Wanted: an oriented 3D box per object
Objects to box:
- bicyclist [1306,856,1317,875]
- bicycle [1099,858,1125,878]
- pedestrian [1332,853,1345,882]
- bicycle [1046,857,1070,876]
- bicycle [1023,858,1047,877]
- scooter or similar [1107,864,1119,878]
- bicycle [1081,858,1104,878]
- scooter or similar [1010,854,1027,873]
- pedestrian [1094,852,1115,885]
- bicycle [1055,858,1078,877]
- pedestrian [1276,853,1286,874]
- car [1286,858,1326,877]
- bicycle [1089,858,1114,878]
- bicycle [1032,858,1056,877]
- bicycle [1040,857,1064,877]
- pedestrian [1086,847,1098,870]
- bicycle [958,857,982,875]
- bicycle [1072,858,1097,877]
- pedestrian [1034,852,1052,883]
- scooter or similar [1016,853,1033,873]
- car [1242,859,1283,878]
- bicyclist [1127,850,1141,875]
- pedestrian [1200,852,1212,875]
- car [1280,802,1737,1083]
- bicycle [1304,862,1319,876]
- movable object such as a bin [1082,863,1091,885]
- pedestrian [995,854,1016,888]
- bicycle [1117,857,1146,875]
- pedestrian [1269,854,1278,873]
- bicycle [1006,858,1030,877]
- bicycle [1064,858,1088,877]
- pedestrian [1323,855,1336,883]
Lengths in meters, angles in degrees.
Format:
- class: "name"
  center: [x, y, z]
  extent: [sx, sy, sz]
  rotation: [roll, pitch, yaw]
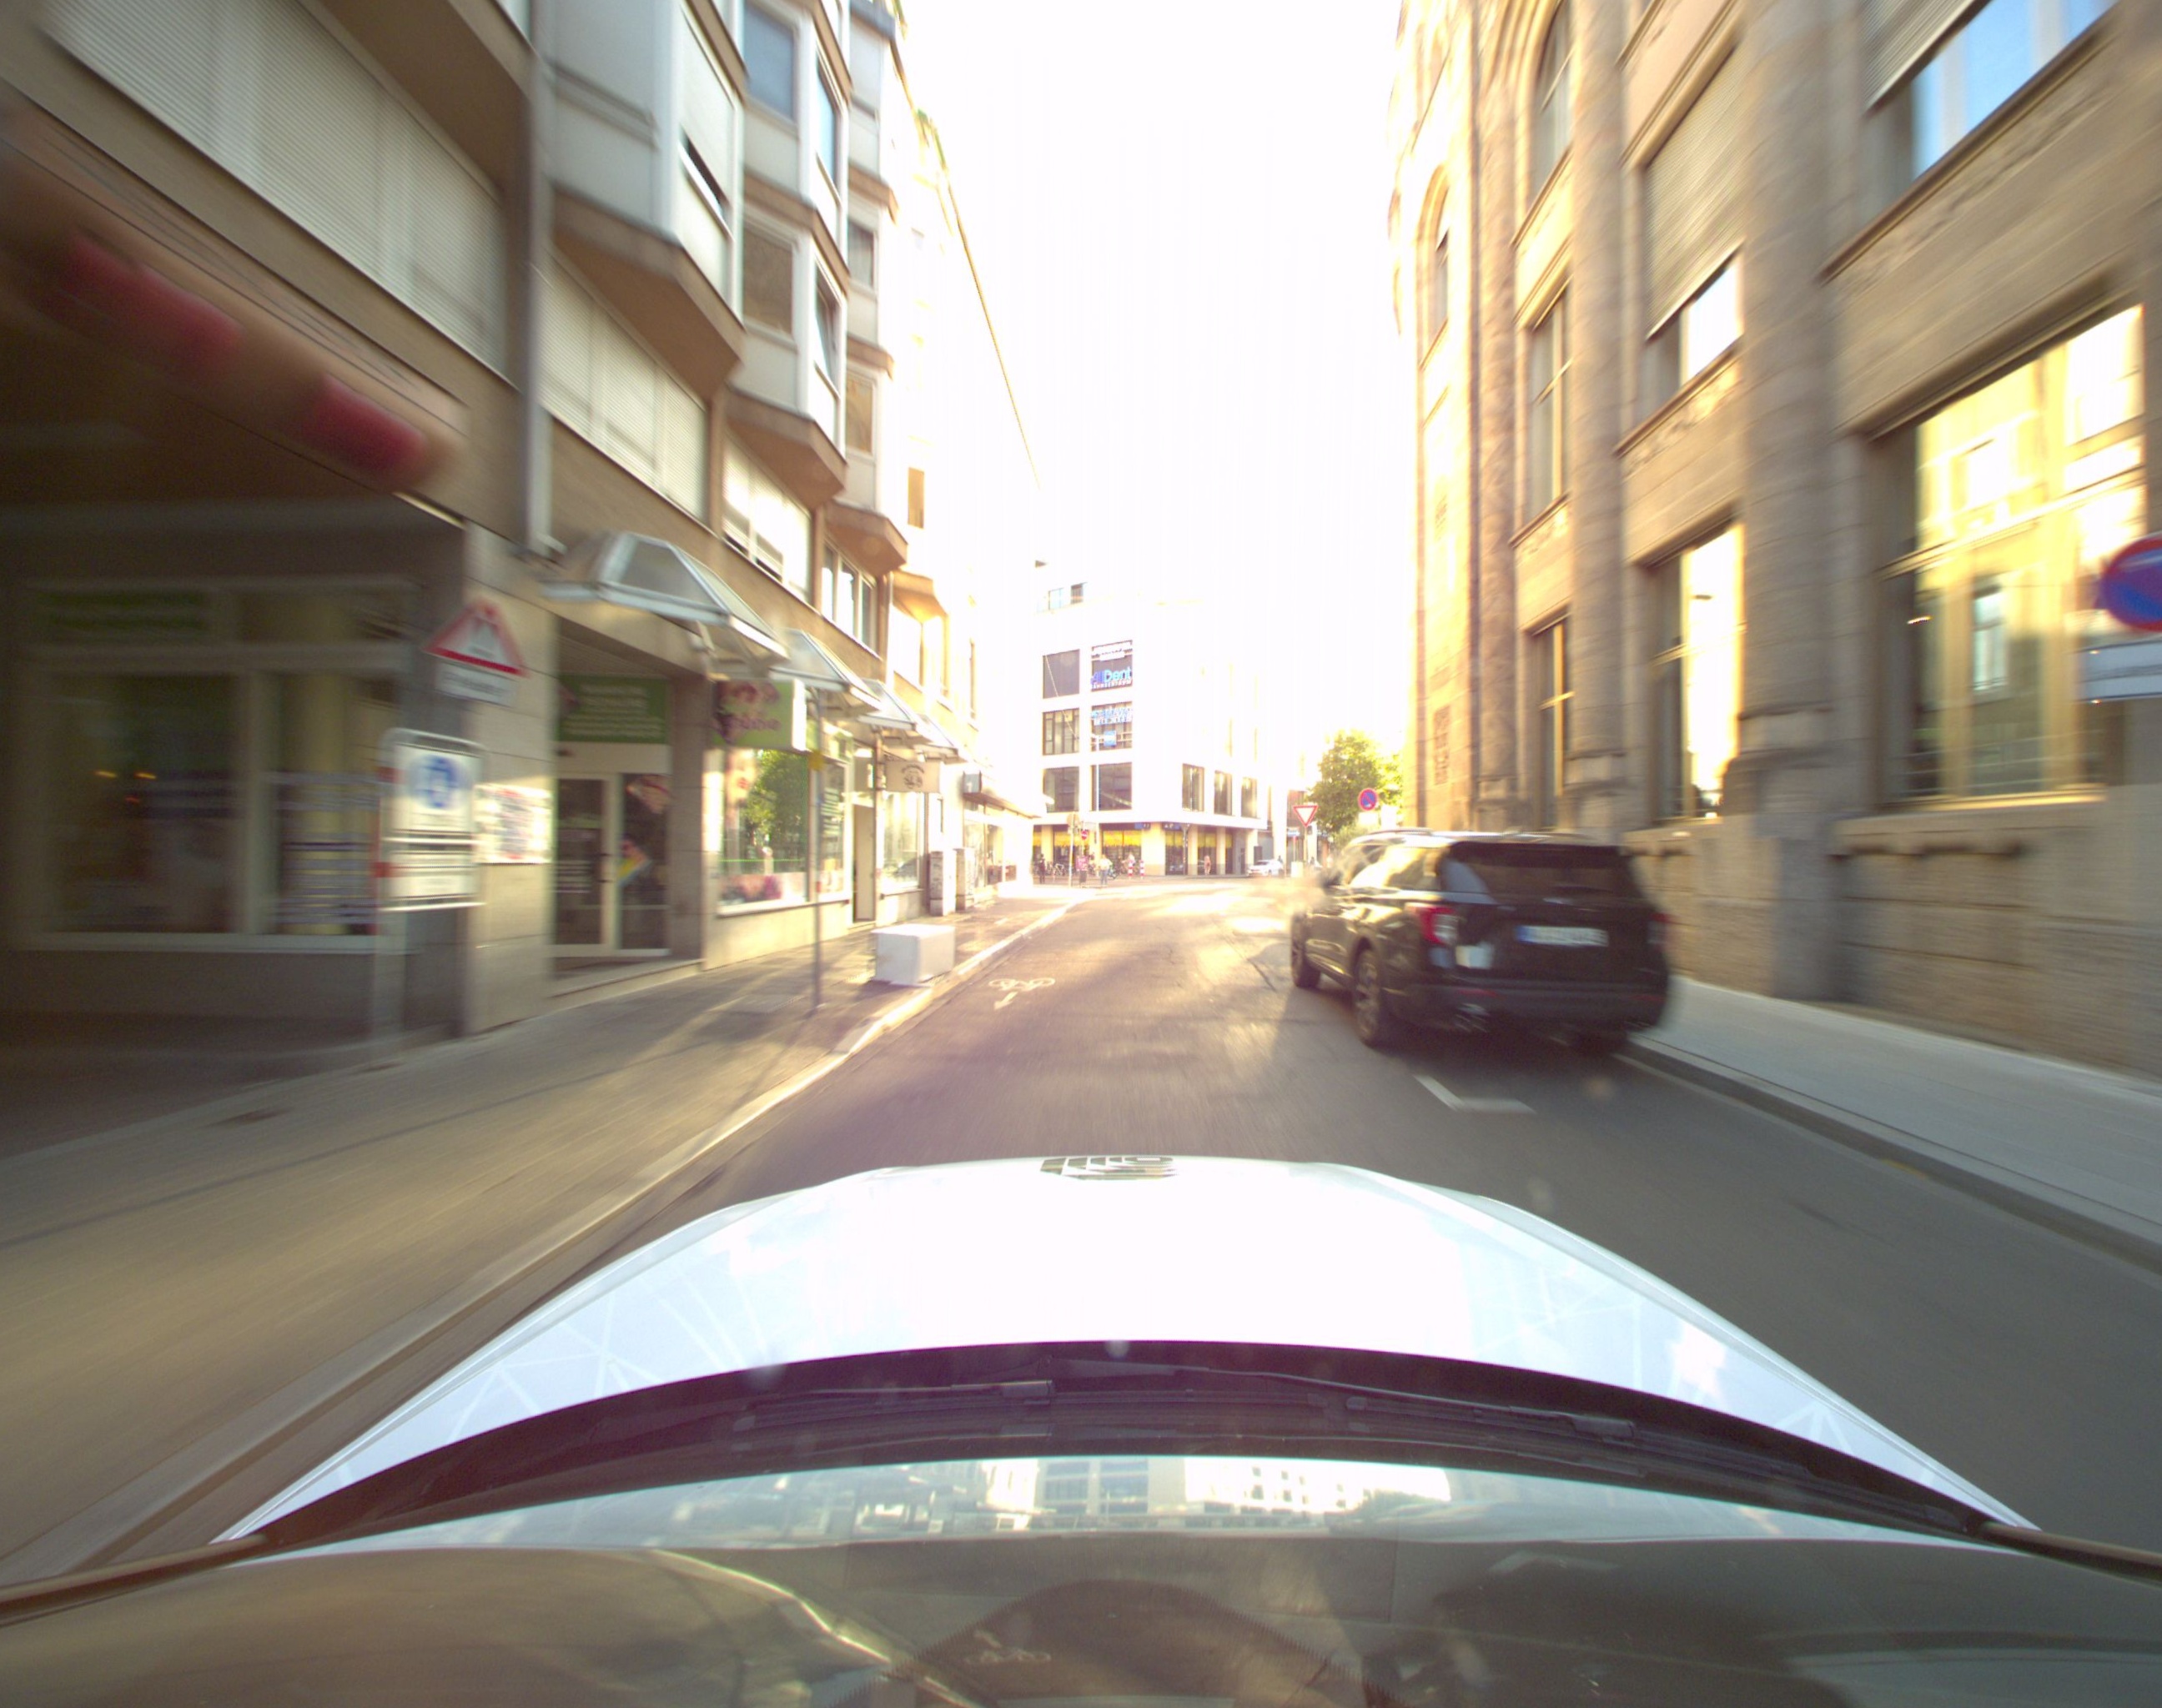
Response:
- class: "bicyclist"
  center: [19.274, 0.956, 68.127]
  extent: [0.652, 1.570, 0.868]
  rotation: [0, -1, 32]
- class: "bicycle"
  center: [1.987, 0.887, 51.657]
  extent: [0.657, 1.255, 2.154]
  rotation: [0, -1, 32]
- class: "pedestrian"
  center: [15.201, 0.811, 48.087]
  extent: [0.697, 1.670, 0.646]
  rotation: [0, 1, 22]
- class: "bicycle"
  center: [-1.491, 0.849, 53.957]
  extent: [0.507, 1.255, 1.991]
  rotation: [0, -1, 34]
- class: "bicycle"
  center: [-3.080, 0.904, 55.225]
  extent: [0.507, 1.255, 1.991]
  rotation: [0, -1, 34]
- class: "scooter or similar"
  center: [2.088, 1.102, 53.260]
  extent: [0.383, 0.884, 0.775]
  rotation: [0, -1, 34]
- class: "bicycle"
  center: [0.768, 0.896, 52.334]
  extent: [0.507, 1.255, 1.991]
  rotation: [0, -1, 32]
- class: "scooter or similar"
  center: [-4.073, 0.629, 52.975]
  extent: [0.383, 1.212, 1.279]
  rotation: [0, -1, 34]
- class: "pedestrian"
  center: [1.132, 0.708, 39.719]
  extent: [0.806, 1.613, 0.729]
  rotation: [1, -1, -25]
- class: "bicycle"
  center: [-0.940, 0.876, 53.629]
  extent: [0.507, 1.255, 1.991]
  rotation: [0, -1, 33]
- class: "pedestrian"
  center: [17.841, 0.811, 72.599]
  extent: [0.665, 1.836, 0.651]
  rotation: [0, -1, 33]
- class: "car"
  center: [20.112, 1.201, 72.670]
  extent: [1.865, 1.598, 4.719]
  rotation: [0, 0, 38]
- class: "bicycle"
  center: [1.324, 0.887, 52.031]
  extent: [0.575, 1.255, 2.057]
  rotation: [0, -1, 32]
- class: "bicycle"
  center: [-2.505, 0.882, 54.729]
  extent: [0.507, 1.255, 1.991]
  rotation: [0, -1, 34]
- class: "bicycle"
  center: [-1.939, 0.874, 54.304]
  extent: [0.507, 1.255, 1.991]
  rotation: [0, -1, 34]
- class: "pedestrian"
  center: [0.801, 0.331, 59.213]
  extent: [0.637, 1.723, 0.840]
  rotation: [1, -1, -20]
- class: "bicycle"
  center: [-7.947, 0.886, 58.516]
  extent: [0.507, 1.255, 1.991]
  rotation: [0, -1, 34]
- class: "bicycle"
  center: [0.248, 0.876, 52.665]
  extent: [0.507, 1.255, 1.991]
  rotation: [0, -1, 36]
- class: "pedestrian"
  center: [-2.075, 0.733, 44.176]
  extent: [0.870, 1.658, 0.616]
  rotation: [1, -1, -13]
- class: "scooter or similar"
  center: [-3.634, 0.596, 52.592]
  extent: [0.383, 1.260, 1.279]
  rotation: [0, -1, 34]
- class: "car"
  center: [14.571, 1.113, 65.275]
  extent: [1.760, 1.453, 4.257]
  rotation: [0, 0, 34]
- class: "bicyclist"
  center: [3.624, 0.567, 55.712]
  extent: [0.636, 1.695, 0.689]
  rotation: [0, -1, 36]
- class: "pedestrian"
  center: [9.547, 0.749, 61.983]
  extent: [0.665, 1.744, 0.651]
  rotation: [0, -1, 36]
- class: "car"
  center: [3.334, 0.565, 7.694]
  extent: [1.985, 1.783, 4.939]
  rotation: [0, 0, 3]
- class: "bicycle"
  center: [19.276, 1.277, 68.166]
  extent: [0.657, 1.138, 1.833]
  rotation: [0, -1, 33]
- class: "movable object such as a bin"
  center: [0.264, 0.963, 38.883]
  extent: [0.358, 1.063, 0.355]
  rotation: [0, -1, -6]
- class: "pedestrian"
  center: [-3.603, 0.789, 38.886]
  extent: [0.727, 1.613, 0.808]
  rotation: [0, -1, 15]
- class: "bicycle"
  center: [3.464, 0.826, 55.909]
  extent: [1.953, 1.255, 0.616]
  rotation: [0, -1, 35]
- class: "pedestrian"
  center: [17.250, 0.848, 72.970]
  extent: [0.665, 1.675, 0.651]
  rotation: [0, -1, 33]
- class: "bicycle"
  center: [-4.316, 0.933, 55.986]
  extent: [0.507, 1.255, 1.991]
  rotation: [0, -1, 34]
- class: "bicycle"
  center: [-0.317, 0.883, 53.163]
  extent: [0.507, 1.255, 1.991]
  rotation: [0, -1, 34]
- class: "pedestrian"
  center: [14.971, 0.888, 49.046]
  extent: [0.697, 1.670, 0.646]
  rotation: [0, 1, 22]
